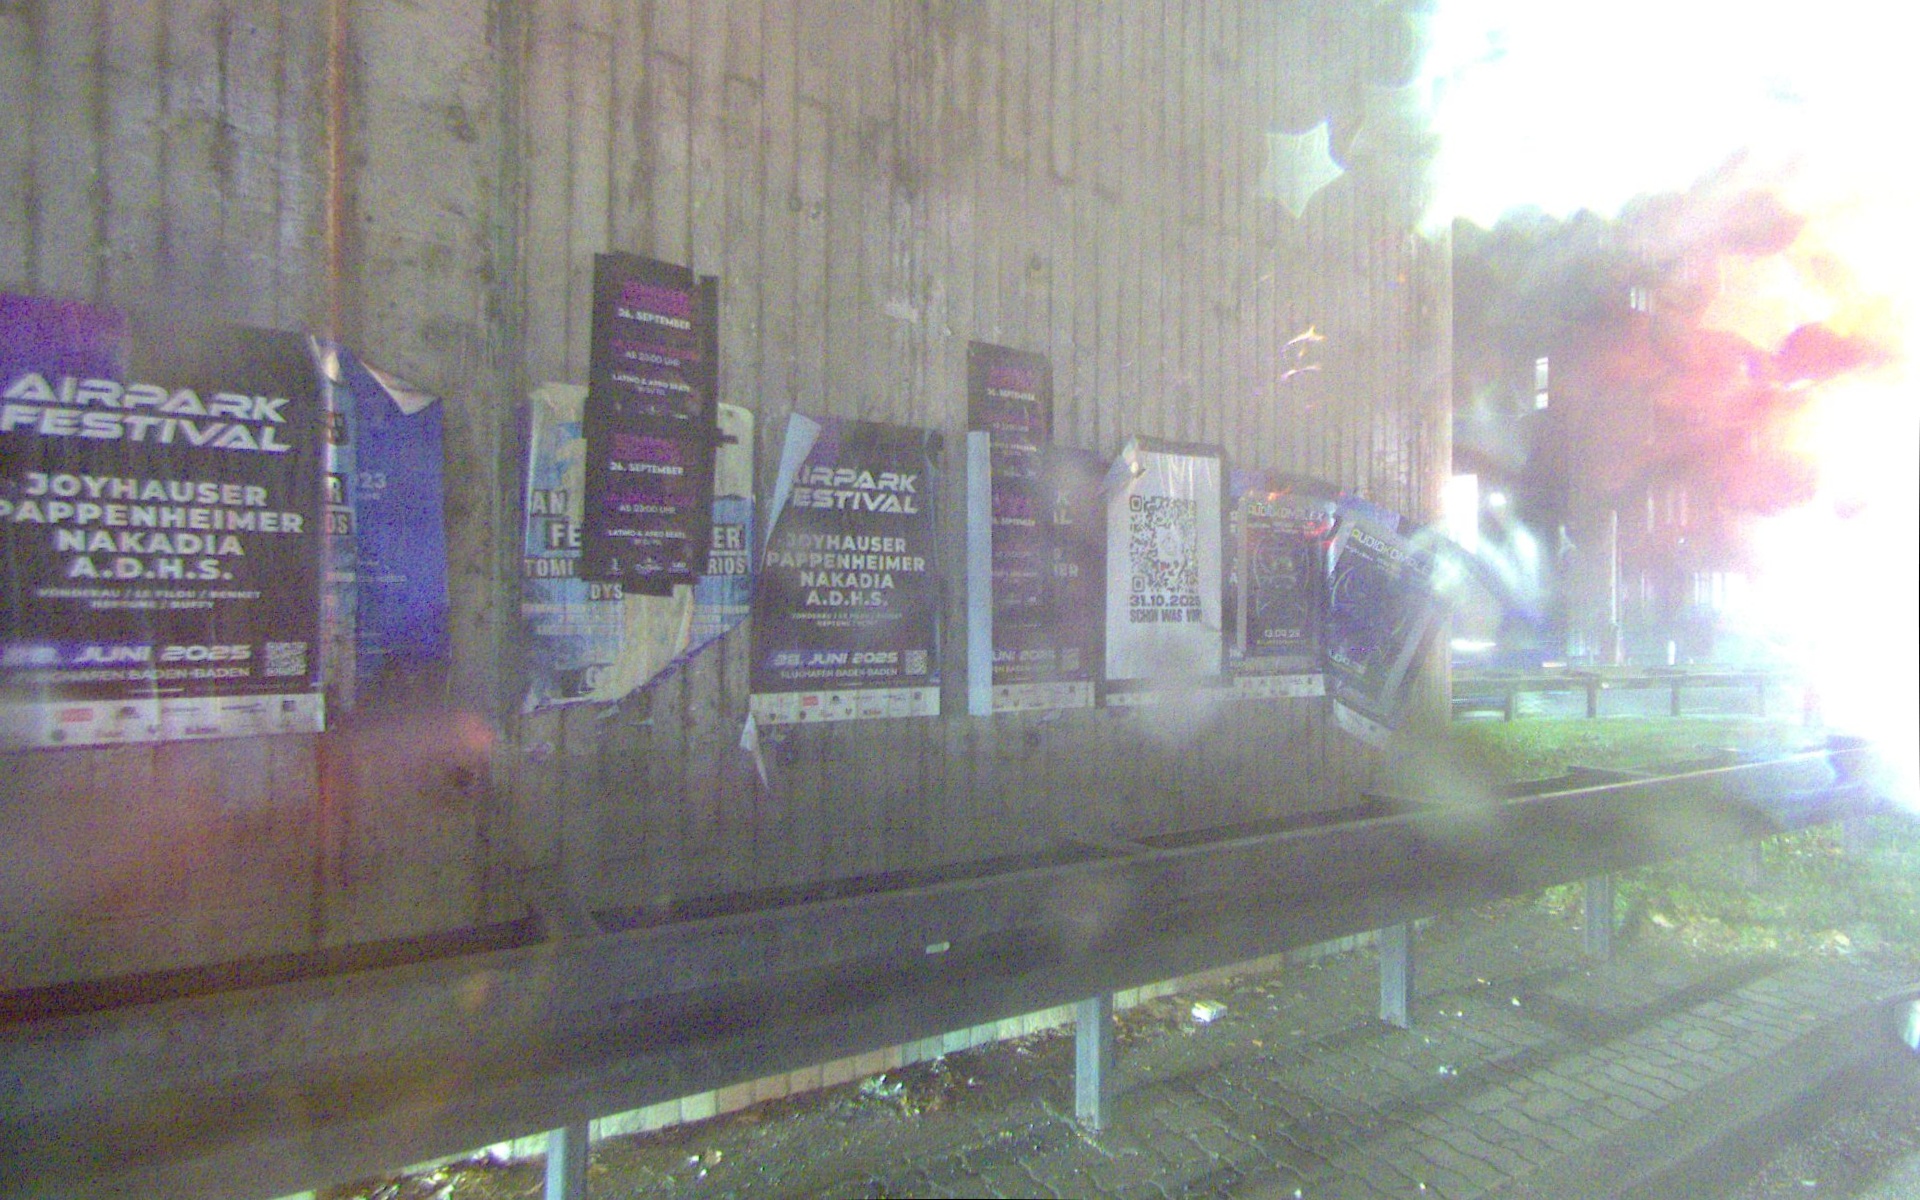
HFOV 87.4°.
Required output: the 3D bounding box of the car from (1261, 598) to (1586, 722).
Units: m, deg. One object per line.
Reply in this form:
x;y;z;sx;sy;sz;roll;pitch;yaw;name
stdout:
7.264;0.929;15.887;4.428;1.773;1.855;2;0;-13;car
